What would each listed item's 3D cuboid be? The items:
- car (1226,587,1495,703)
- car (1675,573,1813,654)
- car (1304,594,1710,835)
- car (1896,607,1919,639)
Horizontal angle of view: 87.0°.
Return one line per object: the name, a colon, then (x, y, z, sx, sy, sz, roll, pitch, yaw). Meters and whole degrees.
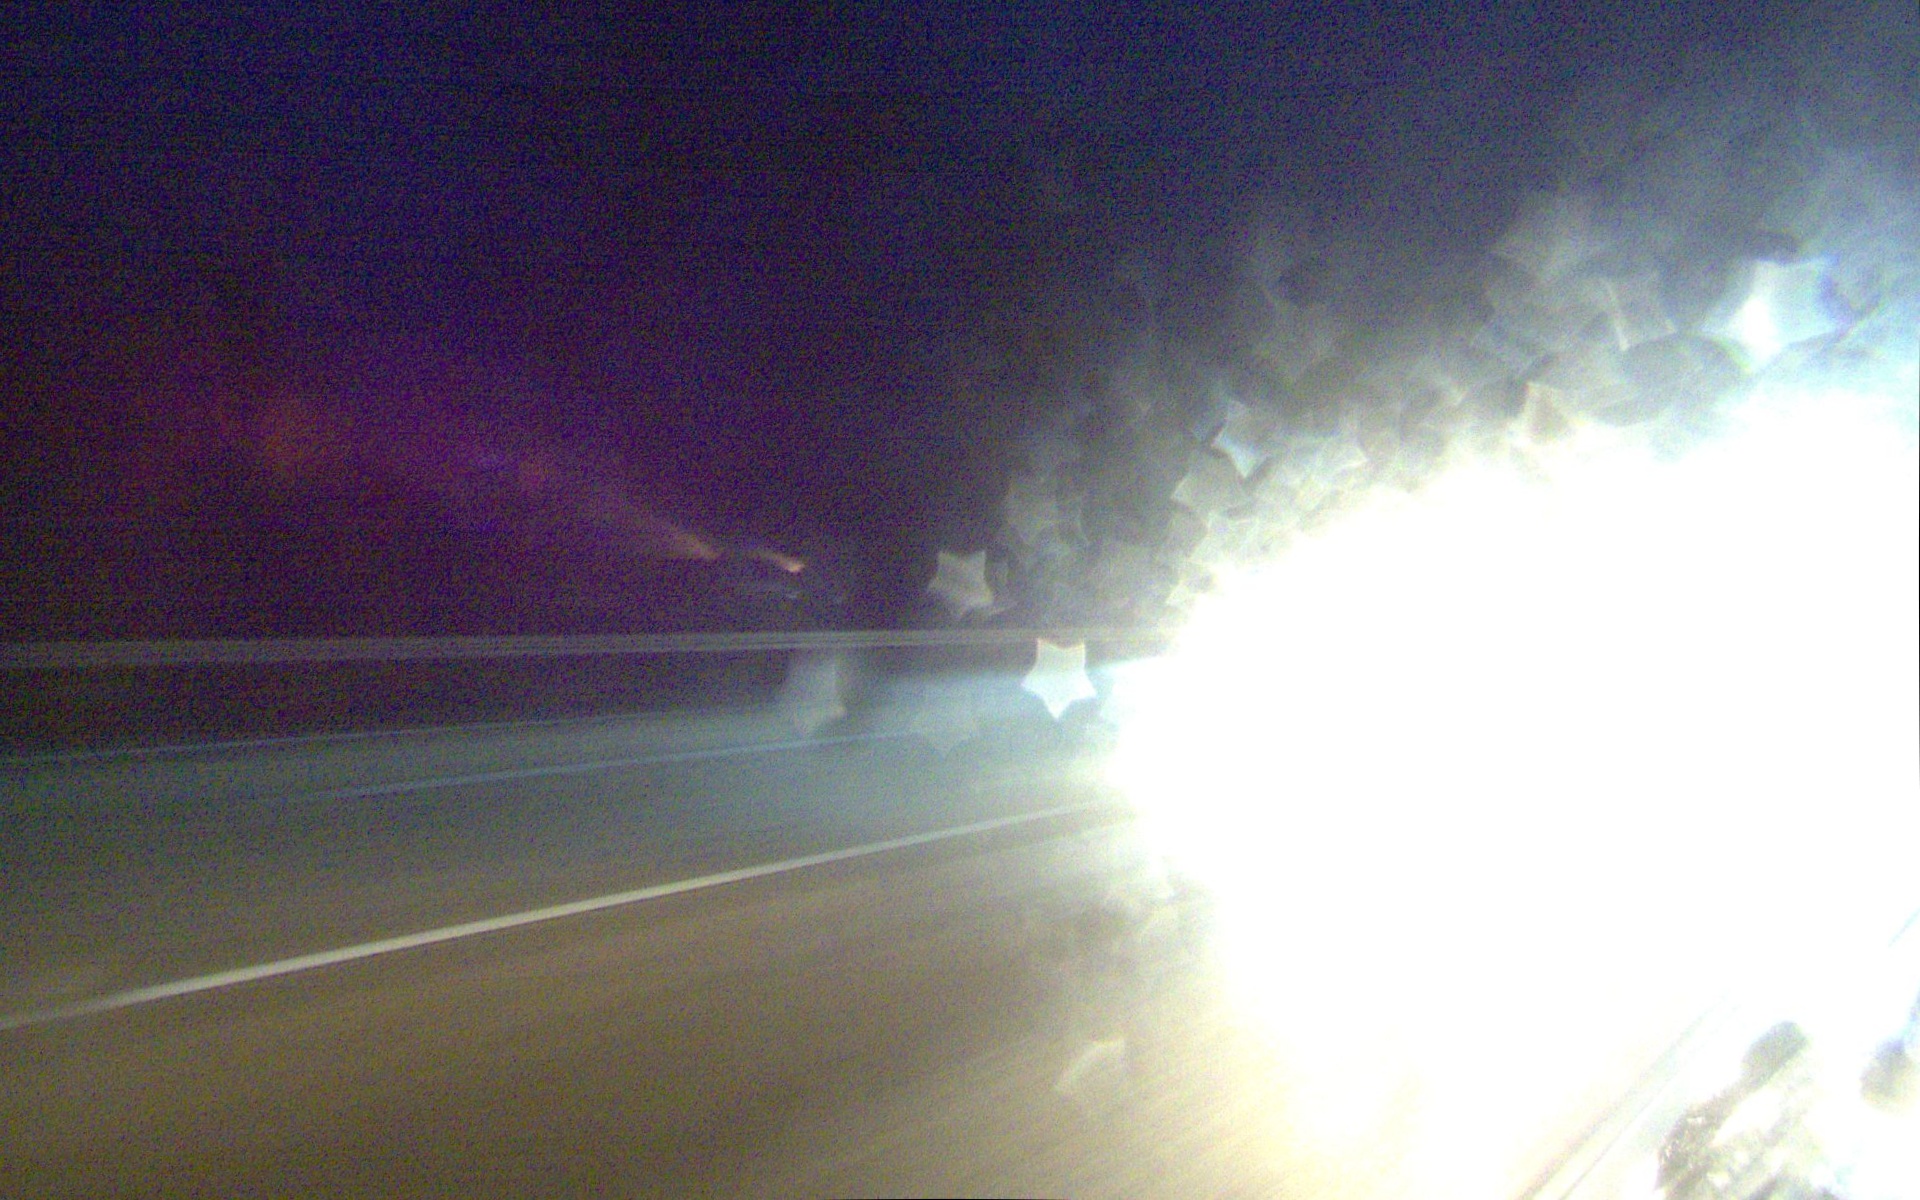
car: (6.272, 0.592, 15.526, 4.876, 1.505, 1.897, 0, 0, -42)
car: (21.891, 0.322, 28.173, 5.313, 1.998, 2.050, 0, 2, -42)
car: (4.410, 0.678, 7.926, 3.726, 1.430, 1.615, 0, 1, -41)
car: (46.680, 1.079, 48.778, 5.272, 1.498, 1.746, 0, 0, -41)
